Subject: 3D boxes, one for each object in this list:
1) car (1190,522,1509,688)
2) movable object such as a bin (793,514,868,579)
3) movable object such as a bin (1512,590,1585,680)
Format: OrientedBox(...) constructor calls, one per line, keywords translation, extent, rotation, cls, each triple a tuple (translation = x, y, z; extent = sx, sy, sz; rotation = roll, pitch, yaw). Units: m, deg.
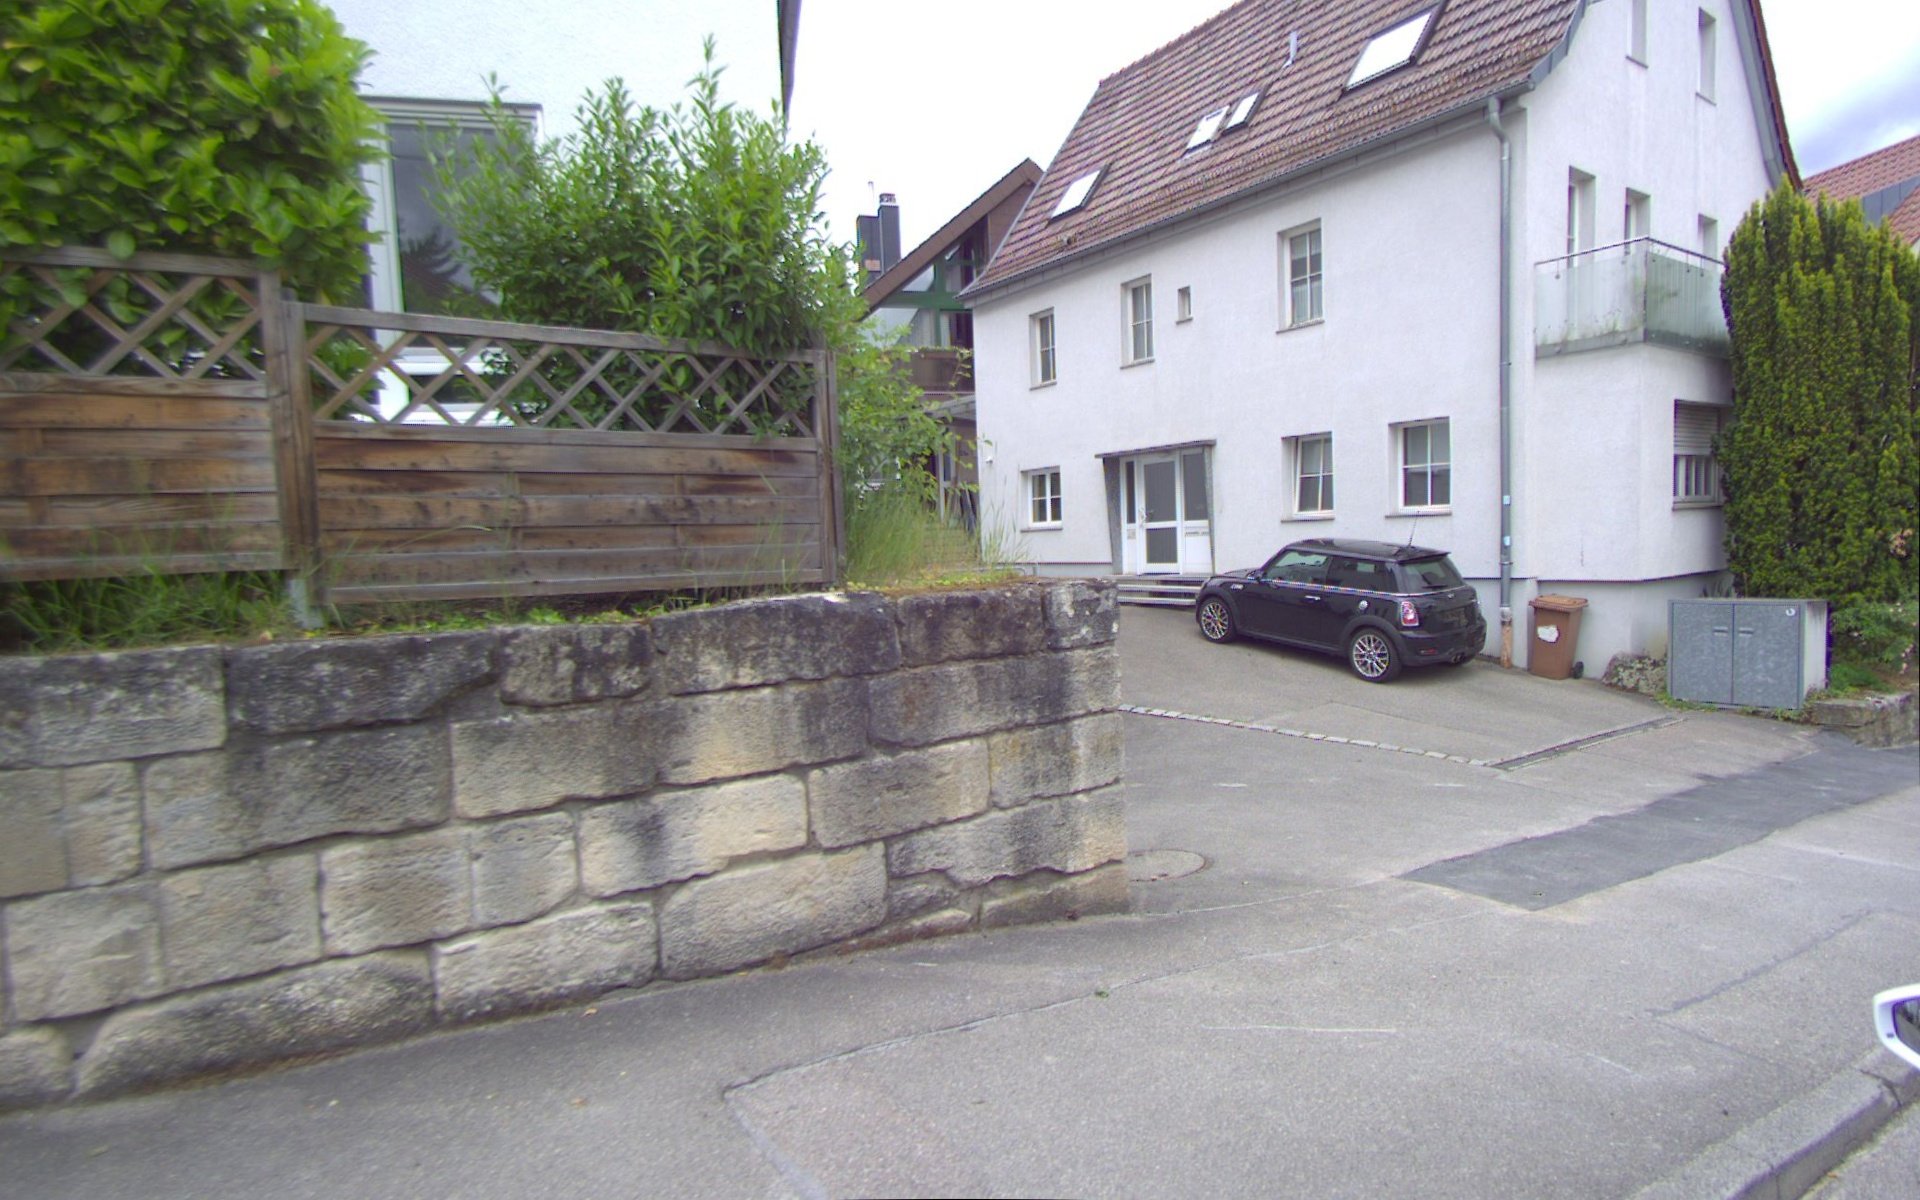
OrientedBox(translation=(4.707, -0.080, 12.592), extent=(1.607, 1.490, 3.381), rotation=(-5, 11, -31), cls="car")
OrientedBox(translation=(-2.983, -1.252, 22.992), extent=(1.417, 1.419, 1.444), rotation=(-2, 5, -19), cls="movable object such as a bin")
OrientedBox(translation=(6.824, 0.397, 11.665), extent=(0.427, 0.915, 0.509), rotation=(-6, 13, -33), cls="movable object such as a bin")
